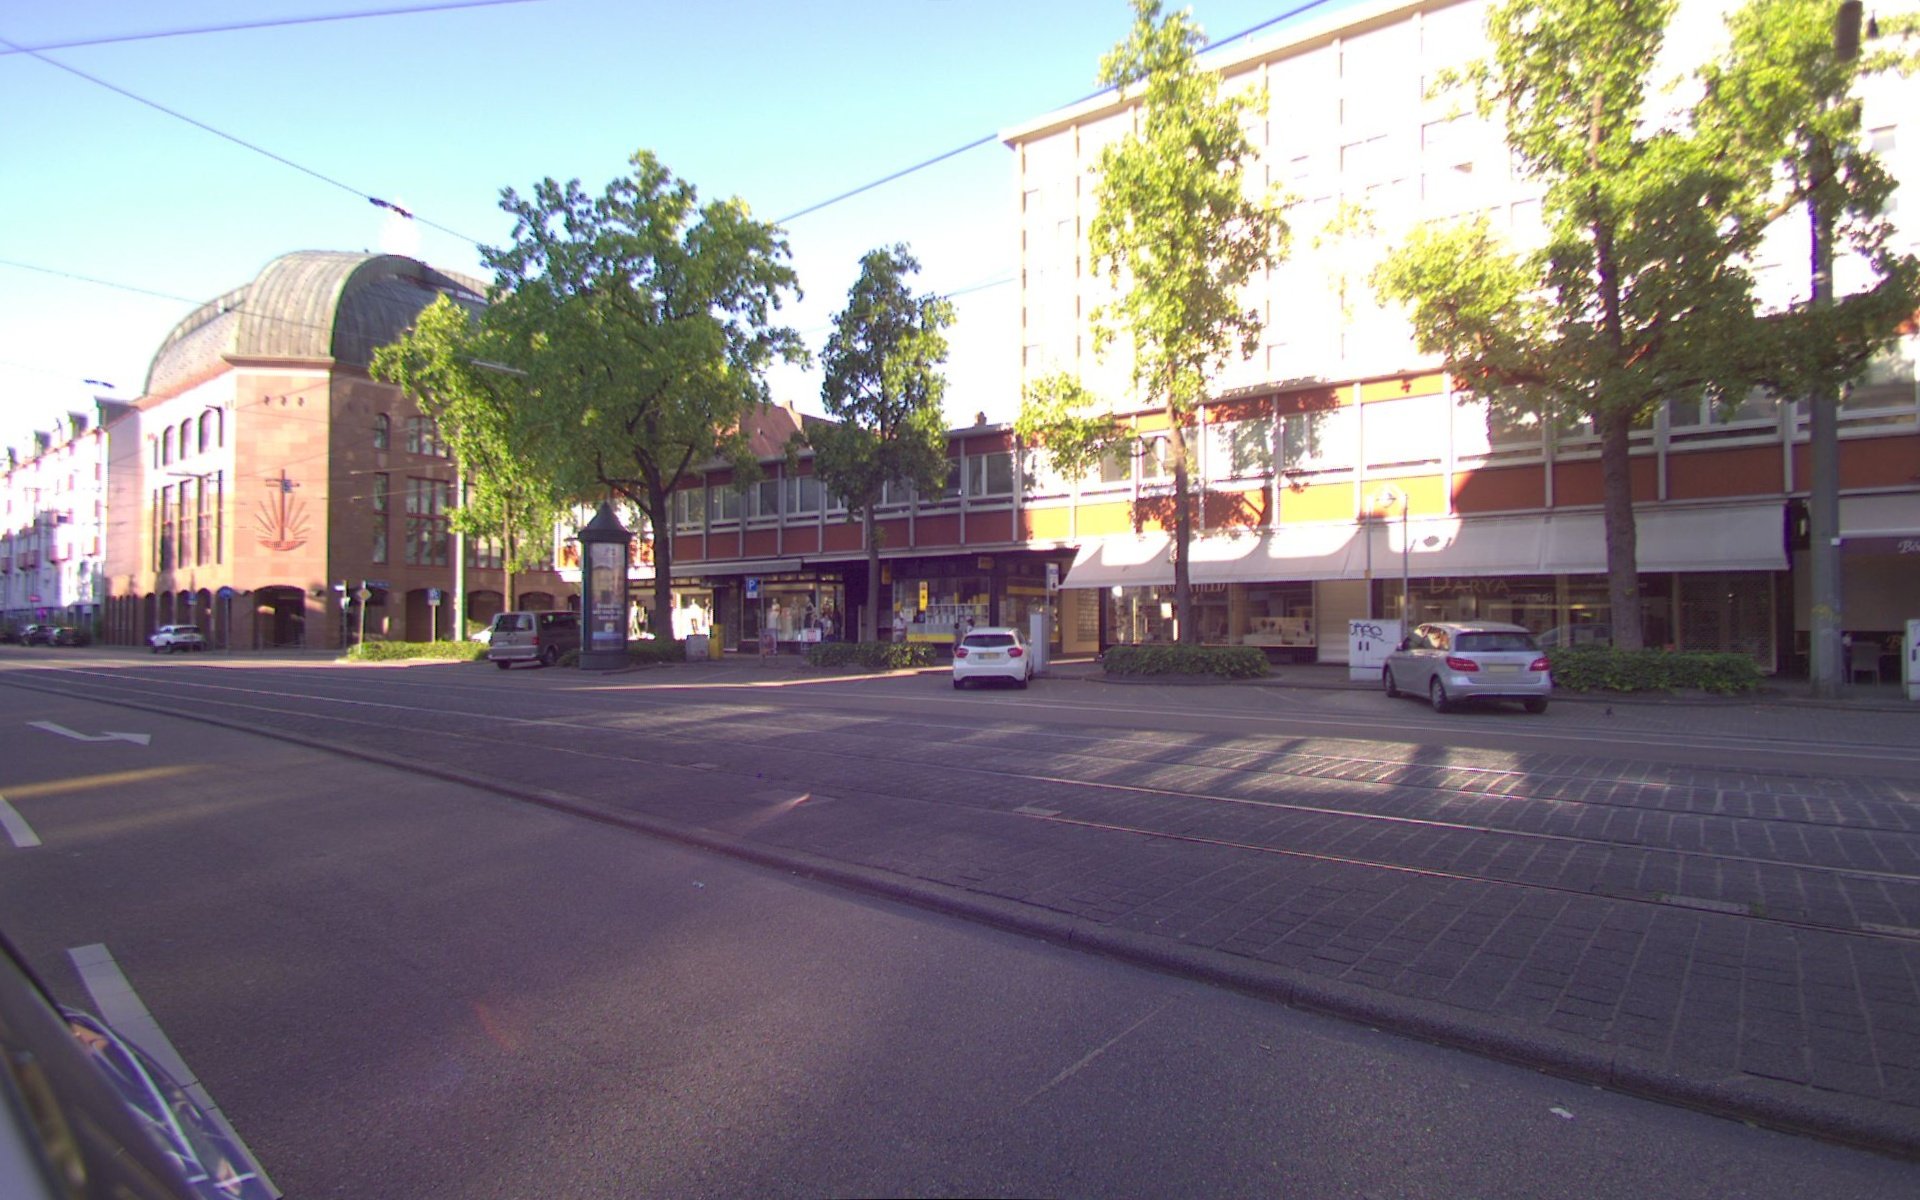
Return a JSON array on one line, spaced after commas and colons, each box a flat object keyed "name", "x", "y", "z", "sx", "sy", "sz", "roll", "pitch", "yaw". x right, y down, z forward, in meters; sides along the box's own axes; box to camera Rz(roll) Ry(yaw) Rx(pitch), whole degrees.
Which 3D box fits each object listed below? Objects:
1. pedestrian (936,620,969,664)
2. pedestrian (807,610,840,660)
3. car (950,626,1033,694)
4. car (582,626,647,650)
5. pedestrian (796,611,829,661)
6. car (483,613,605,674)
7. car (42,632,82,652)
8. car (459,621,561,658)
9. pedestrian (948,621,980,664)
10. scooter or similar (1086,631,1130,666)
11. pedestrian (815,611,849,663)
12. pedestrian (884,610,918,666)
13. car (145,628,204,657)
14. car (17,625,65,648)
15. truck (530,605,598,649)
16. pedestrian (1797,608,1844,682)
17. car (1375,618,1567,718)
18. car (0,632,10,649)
[{"name": "pedestrian", "x": -0.258, "y": 1.439, "z": 34.968, "sx": 0.898, "sy": 1.509, "sz": 0.681, "roll": -1, "pitch": -2, "yaw": 36}, {"name": "pedestrian", "x": -5.441, "y": 1.384, "z": 40.453, "sx": 0.898, "sy": 1.963, "sz": 0.984, "roll": -1, "pitch": -2, "yaw": 36}, {"name": "car", "x": 0.877, "y": 1.430, "z": 25.362, "sx": 1.745, "sy": 1.440, "sz": 4.261, "roll": -1, "pitch": 0, "yaw": 6}, {"name": "car", "x": -23.523, "y": 2.586, "z": 68.904, "sx": 4.519, "sy": 1.585, "sz": 1.835, "roll": -1, "pitch": -2, "yaw": 34}, {"name": "pedestrian", "x": -5.741, "y": 1.399, "z": 39.322, "sx": 0.898, "sy": 1.892, "sz": 0.908, "roll": -1, "pitch": -2, "yaw": 36}, {"name": "car", "x": -14.673, "y": 1.475, "z": 36.042, "sx": 1.831, "sy": 1.943, "sz": 5.112, "roll": 0, "pitch": 0, "yaw": 6}, {"name": "car", "x": -66.409, "y": 3.069, "z": 74.854, "sx": 3.679, "sy": 1.411, "sz": 1.626, "roll": -1, "pitch": -1, "yaw": 39}, {"name": "car", "x": -26.037, "y": 2.239, "z": 58.709, "sx": 2.128, "sy": 1.982, "sz": 4.934, "roll": 2, "pitch": 0, "yaw": 36}, {"name": "pedestrian", "x": 0.146, "y": 1.473, "z": 35.537, "sx": 0.898, "sy": 1.481, "sz": 0.681, "roll": -1, "pitch": -2, "yaw": 36}, {"name": "scooter or similar", "x": 4.736, "y": 1.550, "z": 32.426, "sx": 1.335, "sy": 1.102, "sz": 0.470, "roll": -1, "pitch": -1, "yaw": 36}, {"name": "pedestrian", "x": -4.773, "y": 1.385, "z": 37.872, "sx": 0.898, "sy": 1.892, "sz": 0.908, "roll": -1, "pitch": -2, "yaw": 36}, {"name": "pedestrian", "x": -2.027, "y": 1.286, "z": 34.501, "sx": 0.903, "sy": 1.892, "sz": 0.903, "roll": 1, "pitch": -2, "yaw": -24}, {"name": "car", "x": -45.314, "y": 2.417, "z": 58.362, "sx": 4.269, "sy": 1.602, "sz": 1.581, "roll": -1, "pitch": 0, "yaw": 36}, {"name": "car", "x": -71.805, "y": 2.826, "z": 79.015, "sx": 4.552, "sy": 1.713, "sz": 1.941, "roll": -1, "pitch": -1, "yaw": 37}, {"name": "truck", "x": -25.787, "y": 1.779, "z": 65.872, "sx": 4.519, "sy": 2.784, "sz": 1.835, "roll": -1, "pitch": -2, "yaw": 34}, {"name": "pedestrian", "x": 18.769, "y": 0.970, "z": 22.099, "sx": 0.705, "sy": 1.575, "sz": 0.864, "roll": -2, "pitch": -2, "yaw": 38}, {"name": "car", "x": 9.299, "y": 1.158, "z": 18.843, "sx": 1.805, "sy": 1.578, "sz": 4.271, "roll": 0, "pitch": 0, "yaw": 7}, {"name": "car", "x": -86.716, "y": 3.640, "z": 90.580, "sx": 4.555, "sy": 1.520, "sz": 1.807, "roll": -1, "pitch": -1, "yaw": 38}]
